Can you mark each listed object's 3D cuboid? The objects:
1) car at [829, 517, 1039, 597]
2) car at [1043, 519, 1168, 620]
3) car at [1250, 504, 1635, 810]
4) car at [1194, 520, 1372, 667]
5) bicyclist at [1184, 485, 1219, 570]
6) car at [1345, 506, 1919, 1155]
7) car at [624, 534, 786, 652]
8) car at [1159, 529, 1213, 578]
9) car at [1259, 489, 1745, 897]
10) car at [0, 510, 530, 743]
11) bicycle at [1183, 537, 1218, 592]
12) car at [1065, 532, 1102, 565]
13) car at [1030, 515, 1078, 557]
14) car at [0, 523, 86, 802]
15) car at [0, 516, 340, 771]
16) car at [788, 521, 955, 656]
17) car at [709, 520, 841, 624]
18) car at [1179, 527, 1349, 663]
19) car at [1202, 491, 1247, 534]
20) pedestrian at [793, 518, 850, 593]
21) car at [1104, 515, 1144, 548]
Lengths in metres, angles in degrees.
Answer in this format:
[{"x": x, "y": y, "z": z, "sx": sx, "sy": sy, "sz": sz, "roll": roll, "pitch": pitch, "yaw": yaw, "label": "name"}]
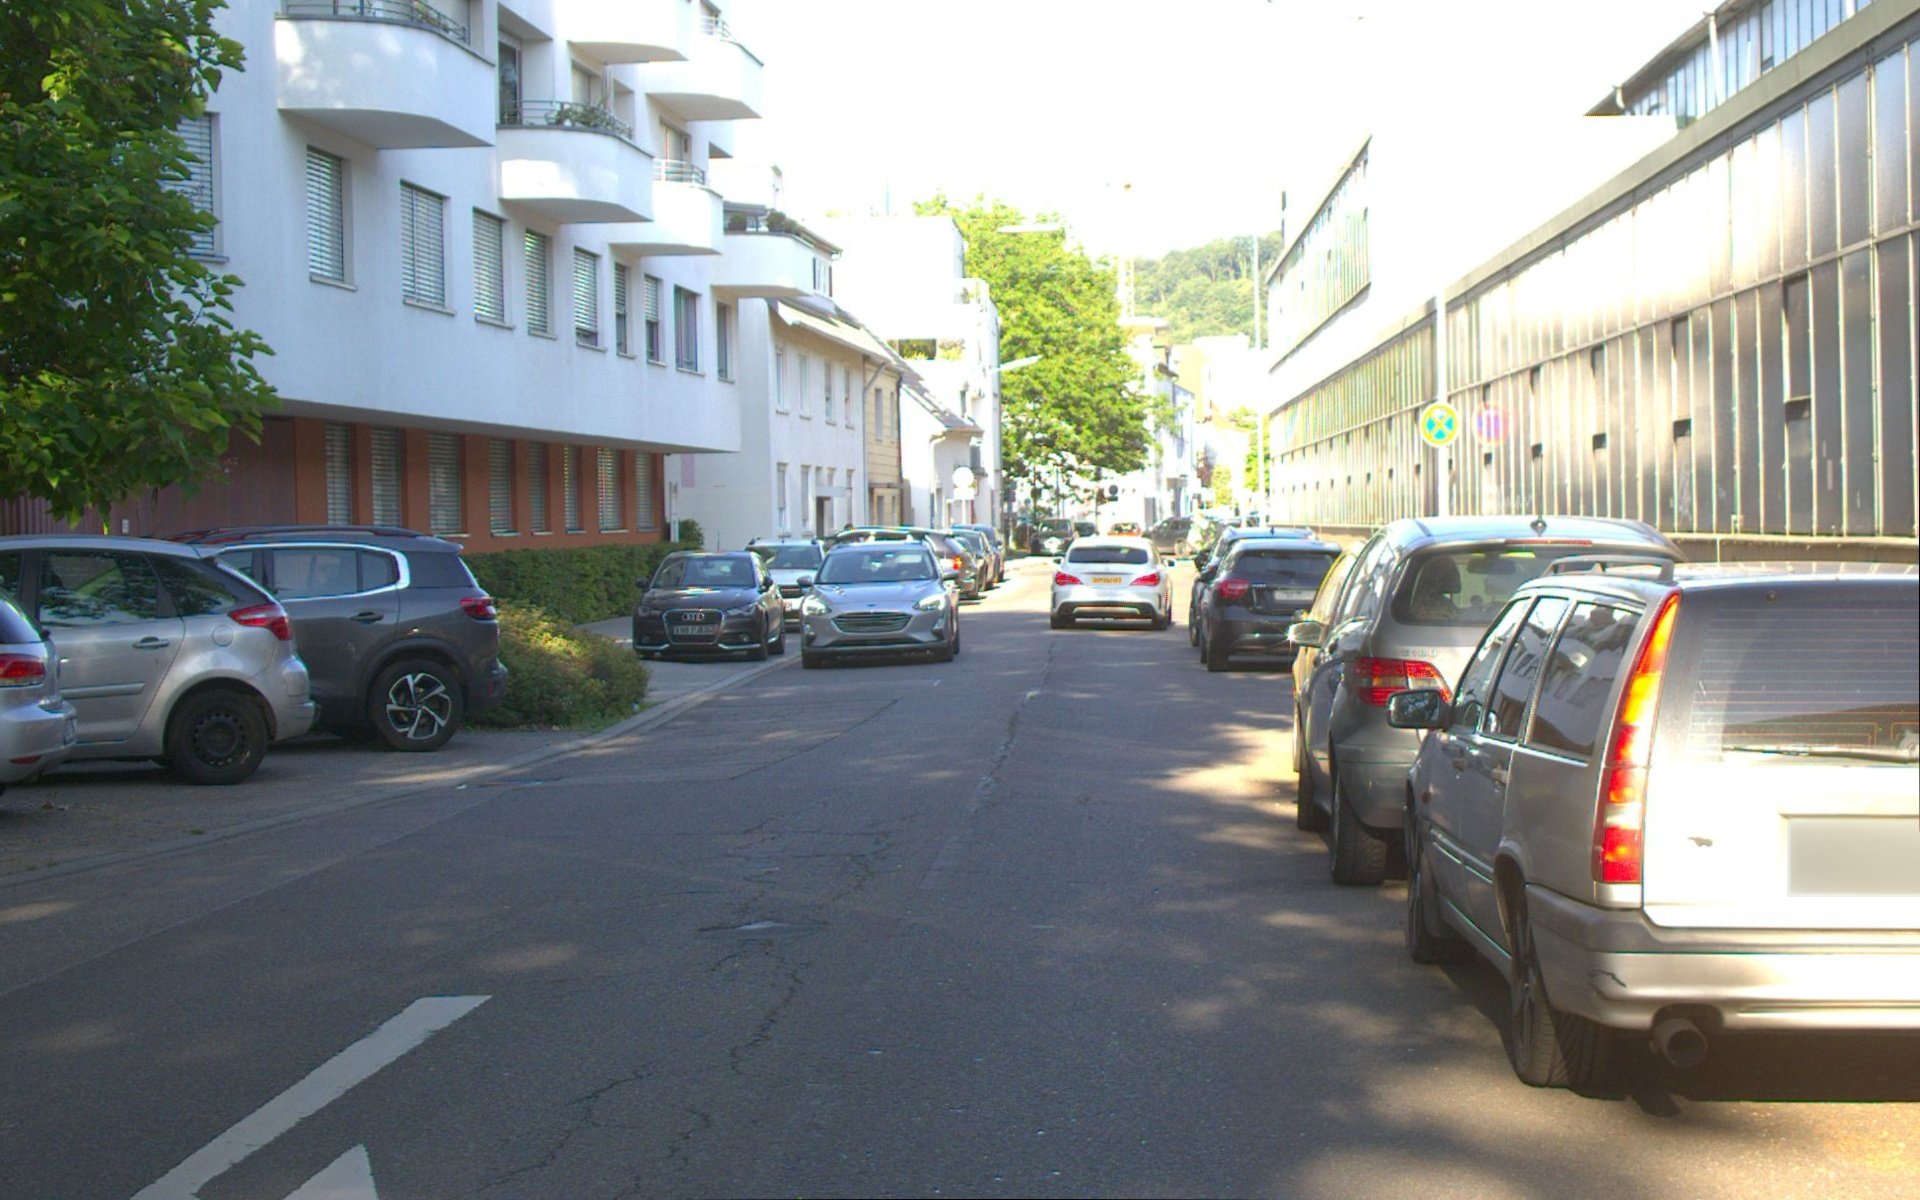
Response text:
[{"x": -0.518, "y": -0.909, "z": 72.323, "sx": 4.321, "sy": 1.530, "sz": 1.690, "roll": 2, "pitch": 1, "yaw": 2, "label": "car"}, {"x": 2.268, "y": -0.471, "z": 53.350, "sx": 1.842, "sy": 1.486, "sz": 4.144, "roll": 1, "pitch": 1, "yaw": 3, "label": "car"}, {"x": 2.773, "y": 0.289, "z": 20.570, "sx": 1.750, "sy": 1.629, "sz": 4.001, "roll": 1, "pitch": 1, "yaw": 0, "label": "car"}, {"x": 3.553, "y": -0.092, "z": 38.470, "sx": 1.751, "sy": 1.486, "sz": 4.621, "roll": 2, "pitch": 1, "yaw": 3, "label": "car"}, {"x": 5.134, "y": -1.527, "z": 73.027, "sx": 0.698, "sy": 1.784, "sz": 1.040, "roll": 1, "pitch": 0, "yaw": 5, "label": "bicyclist"}, {"x": 2.338, "y": 0.518, "z": 10.200, "sx": 1.900, "sy": 1.488, "sz": 4.529, "roll": 1, "pitch": 1, "yaw": 0, "label": "car"}, {"x": -3.294, "y": -0.109, "z": 44.982, "sx": 1.674, "sy": 1.428, "sz": 3.770, "roll": 2, "pitch": 1, "yaw": 2, "label": "car"}, {"x": 8.607, "y": -1.790, "z": 131.186, "sx": 1.853, "sy": 1.785, "sz": 4.607, "roll": 1, "pitch": 1, "yaw": 2, "label": "car"}, {"x": 2.383, "y": 0.354, "z": 16.090, "sx": 1.750, "sy": 1.629, "sz": 4.309, "roll": 1, "pitch": 1, "yaw": 3, "label": "car"}, {"x": -5.427, "y": 0.194, "z": 26.095, "sx": 3.946, "sy": 1.656, "sz": 1.700, "roll": 1, "pitch": 1, "yaw": -25, "label": "car"}, {"x": 5.118, "y": -0.755, "z": 73.087, "sx": 0.698, "sy": 1.126, "sz": 2.402, "roll": 1, "pitch": 1, "yaw": 5, "label": "bicycle"}, {"x": 6.159, "y": -2.577, "z": 171.252, "sx": 1.704, "sy": 1.570, "sz": 3.913, "roll": 1, "pitch": 1, "yaw": 3, "label": "car"}, {"x": 4.187, "y": -2.851, "z": 152.502, "sx": 1.853, "sy": 1.785, "sz": 4.607, "roll": 1, "pitch": 1, "yaw": 5, "label": "car"}, {"x": -6.995, "y": 0.320, "z": 19.766, "sx": 3.637, "sy": 1.555, "sz": 1.700, "roll": 1, "pitch": 0, "yaw": -8, "label": "car"}, {"x": -6.374, "y": 0.268, "z": 22.951, "sx": 4.125, "sy": 1.634, "sz": 1.777, "roll": 1, "pitch": 1, "yaw": -21, "label": "car"}, {"x": -1.033, "y": -0.166, "z": 41.997, "sx": 1.899, "sy": 1.531, "sz": 4.621, "roll": -1, "pitch": 1, "yaw": 0, "label": "car"}, {"x": -3.012, "y": -0.471, "z": 56.780, "sx": 1.857, "sy": 1.581, "sz": 4.621, "roll": 2, "pitch": 1, "yaw": 0, "label": "car"}, {"x": 3.810, "y": -0.085, "z": 43.688, "sx": 1.807, "sy": 1.581, "sz": 4.405, "roll": 2, "pitch": 1, "yaw": 1, "label": "car"}, {"x": 10.377, "y": -3.433, "z": 135.186, "sx": 1.629, "sy": 1.581, "sz": 4.069, "roll": -3, "pitch": 1, "yaw": 3, "label": "car"}, {"x": -3.429, "y": -1.100, "z": 84.991, "sx": 0.863, "sy": 1.812, "sz": 1.130, "roll": 4, "pitch": 2, "yaw": 27, "label": "pedestrian"}, {"x": 7.725, "y": -3.225, "z": 162.007, "sx": 1.842, "sy": 1.486, "sz": 4.144, "roll": 1, "pitch": 1, "yaw": 3, "label": "car"}]
